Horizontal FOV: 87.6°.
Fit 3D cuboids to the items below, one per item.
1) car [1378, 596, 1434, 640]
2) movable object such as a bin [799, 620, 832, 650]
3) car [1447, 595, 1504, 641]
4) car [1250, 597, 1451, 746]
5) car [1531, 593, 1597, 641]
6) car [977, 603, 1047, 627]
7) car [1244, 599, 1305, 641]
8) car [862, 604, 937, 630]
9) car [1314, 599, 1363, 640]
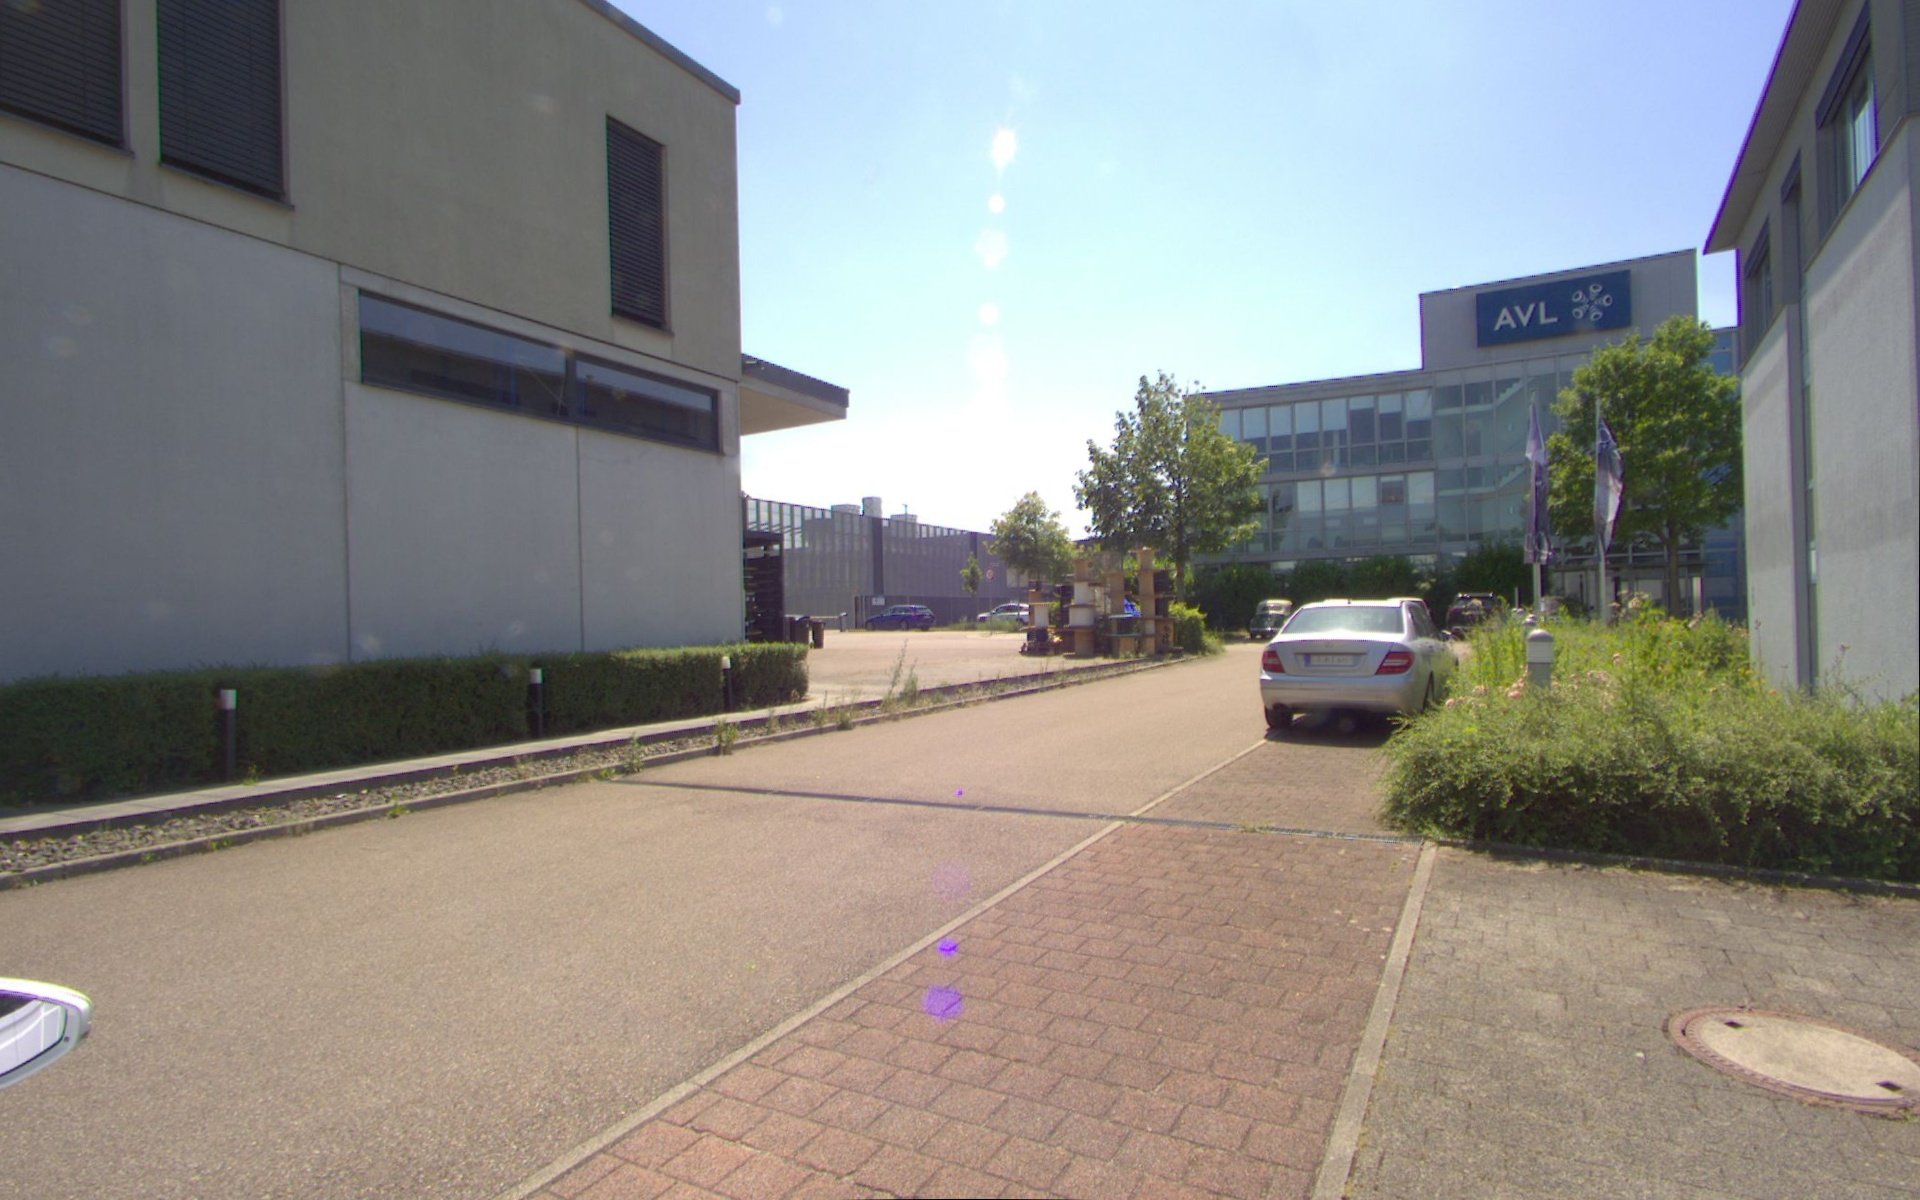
[{"bbox_3d":[16.543,0.670,37.267,1.720,1.538,3.991,-1,-1,22],"label":"car"},{"bbox_3d":[-4.924,1.174,34.086,0.805,0.993,0.807,-1,-1,29],"label":"movable object such as a bin"},{"bbox_3d":[18.427,0.637,35.751,1.723,1.538,3.984,-1,-1,28],"label":"car"},{"bbox_3d":[4.736,0.742,11.838,1.704,1.455,3.700,-1,-1,30],"label":"car"},{"bbox_3d":[20.622,0.577,34.312,1.723,1.538,3.984,-1,-1,28],"label":"car"},{"bbox_3d":[3.282,0.993,63.907,4.399,1.433,1.735,-1,-2,42],"label":"car"},{"bbox_3d":[12.204,0.764,38.729,1.721,1.538,3.987,-1,-1,26],"label":"car"},{"bbox_3d":[-3.453,1.002,56.816,4.401,1.433,1.735,-1,-2,43],"label":"car"},{"bbox_3d":[14.284,0.732,37.747,1.646,1.459,3.991,-1,-1,22],"label":"car"}]
